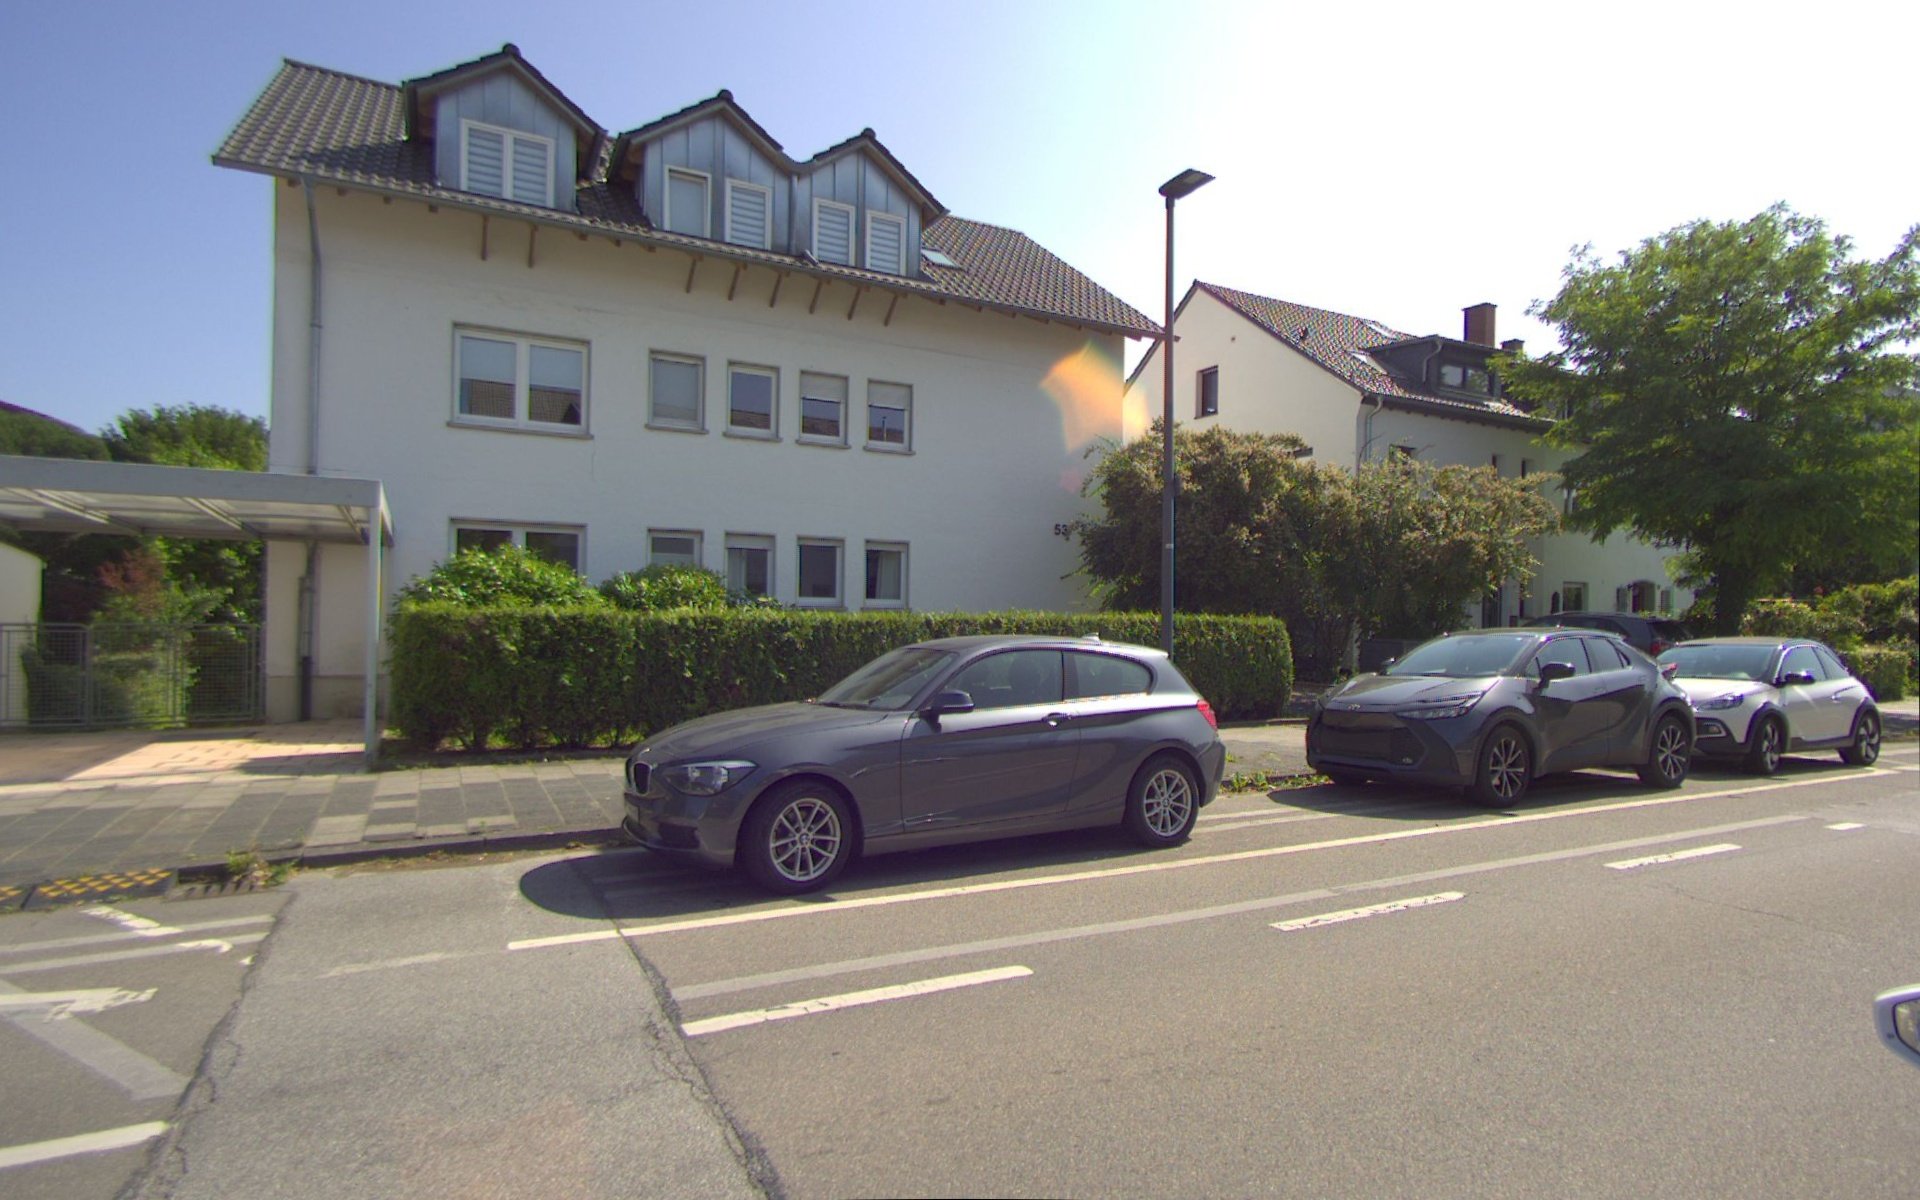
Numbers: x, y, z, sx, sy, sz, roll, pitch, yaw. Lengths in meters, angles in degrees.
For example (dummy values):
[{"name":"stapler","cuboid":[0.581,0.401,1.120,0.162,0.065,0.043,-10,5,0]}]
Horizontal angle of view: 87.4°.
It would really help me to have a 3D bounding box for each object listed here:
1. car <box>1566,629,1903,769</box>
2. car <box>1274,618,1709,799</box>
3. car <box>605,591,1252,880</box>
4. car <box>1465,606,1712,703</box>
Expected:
[{"name":"car","cuboid":[9.442,1.128,12.220,3.949,1.459,1.779,2,-2,-28]},{"name":"car","cuboid":[5.241,0.969,9.847,4.058,1.459,1.779,2,-2,-27]},{"name":"car","cuboid":[-0.121,0.781,6.913,4.107,1.459,1.777,2,-2,-31]},{"name":"car","cuboid":[13.101,1.074,21.197,1.974,1.783,3.972,2,-1,-27]}]
